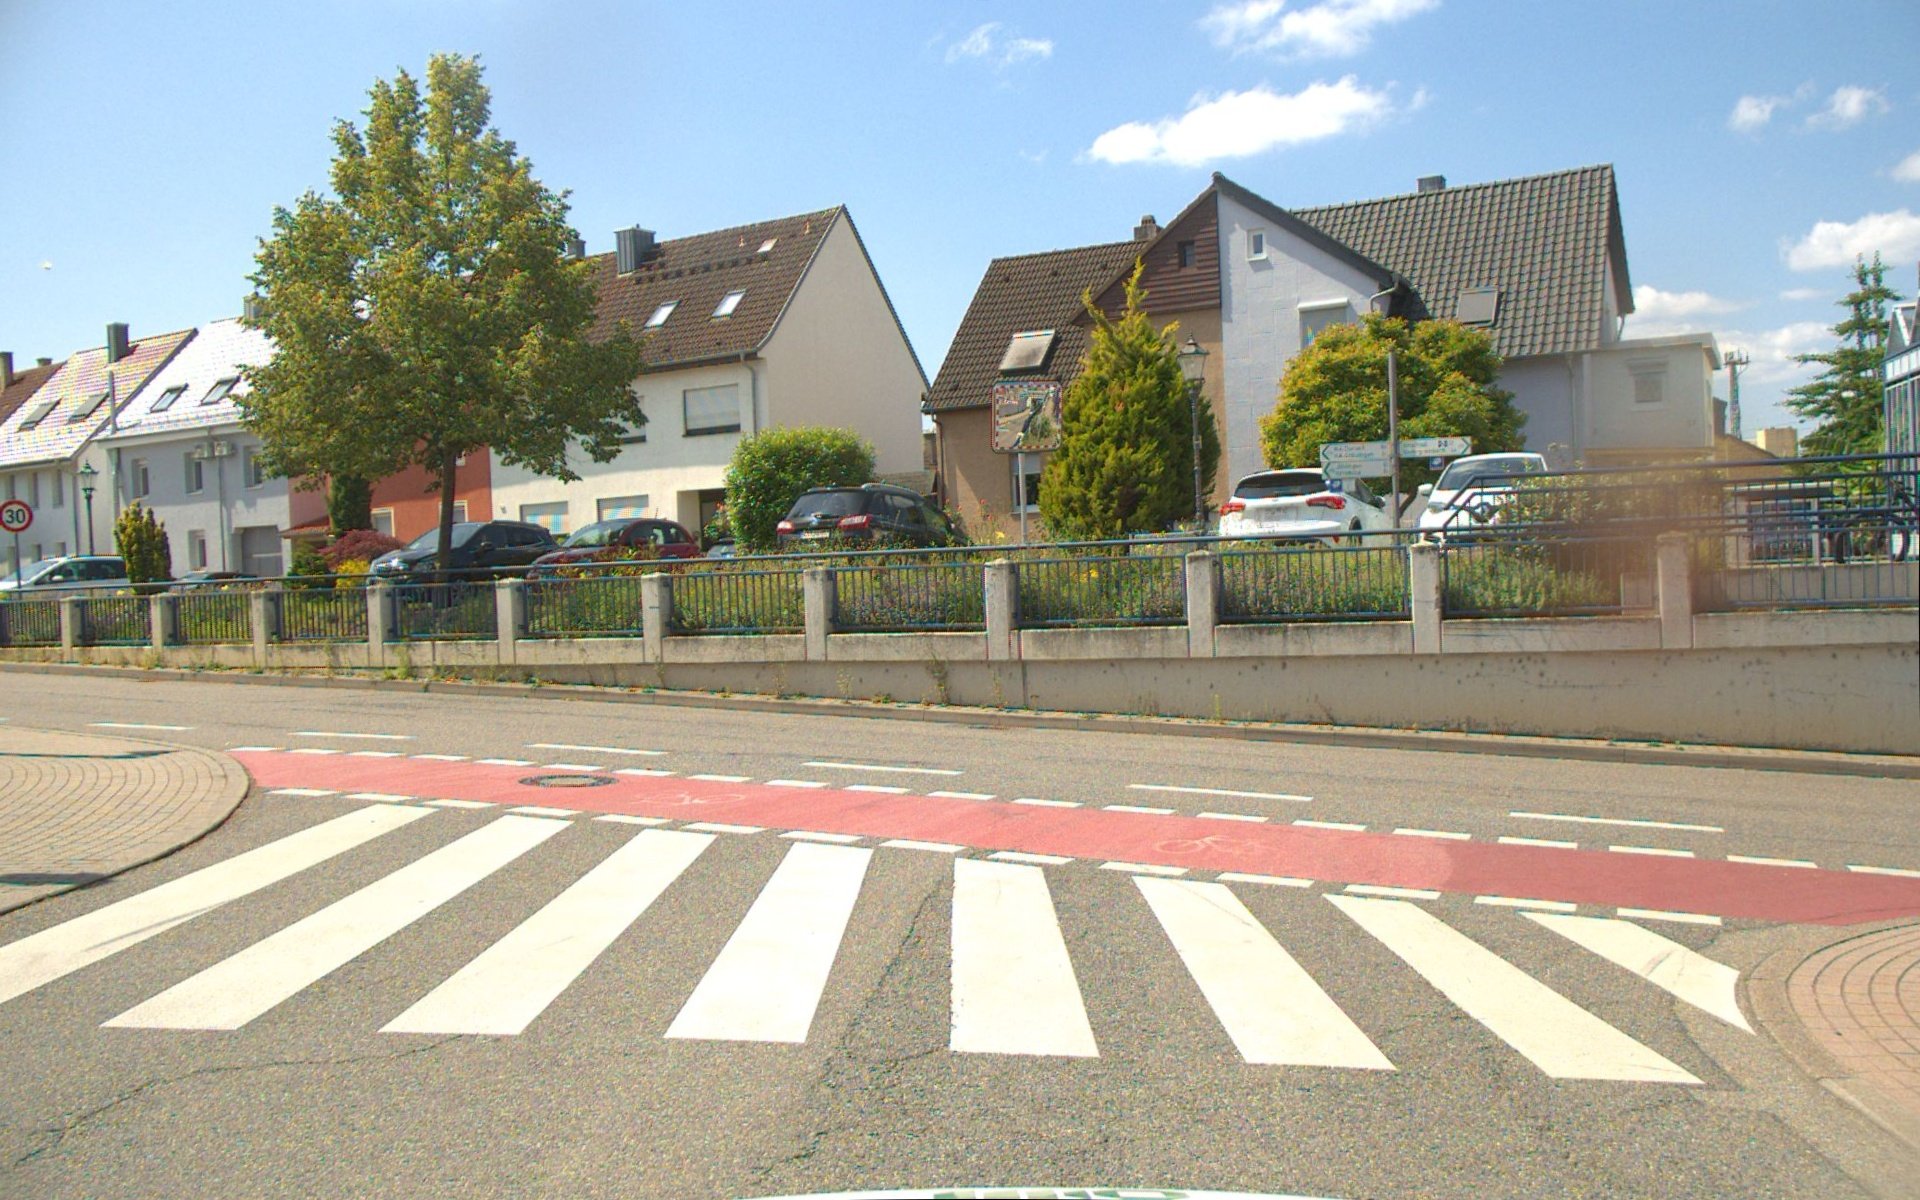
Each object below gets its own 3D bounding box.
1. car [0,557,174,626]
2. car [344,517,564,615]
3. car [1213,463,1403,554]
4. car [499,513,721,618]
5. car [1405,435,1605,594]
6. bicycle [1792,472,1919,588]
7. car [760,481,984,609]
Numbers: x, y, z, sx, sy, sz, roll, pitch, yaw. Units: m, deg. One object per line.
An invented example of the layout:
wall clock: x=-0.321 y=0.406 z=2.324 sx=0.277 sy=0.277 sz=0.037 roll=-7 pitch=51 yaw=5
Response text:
car: x=-20.819 y=-0.200 z=38.546 sx=1.710 sy=1.514 sz=4.246 roll=2 pitch=1 yaw=31
car: x=-9.031 y=-0.594 z=29.806 sx=1.830 sy=1.614 sz=3.607 roll=2 pitch=1 yaw=25
car: x=4.820 y=-1.216 z=22.588 sx=1.789 sy=1.037 sz=3.457 roll=2 pitch=1 yaw=25
car: x=-5.819 y=-0.552 z=27.870 sx=1.830 sy=1.614 sz=3.607 roll=2 pitch=1 yaw=25
car: x=7.171 y=-1.035 z=21.488 sx=1.954 sy=1.828 sz=4.194 roll=2 pitch=1 yaw=25
bicycle: x=9.670 y=-0.727 z=16.874 sx=2.070 sy=1.145 sz=0.333 roll=-1 pitch=1 yaw=19
car: x=-1.289 y=-0.818 z=25.992 sx=1.830 sy=1.828 sz=3.997 roll=2 pitch=1 yaw=25
